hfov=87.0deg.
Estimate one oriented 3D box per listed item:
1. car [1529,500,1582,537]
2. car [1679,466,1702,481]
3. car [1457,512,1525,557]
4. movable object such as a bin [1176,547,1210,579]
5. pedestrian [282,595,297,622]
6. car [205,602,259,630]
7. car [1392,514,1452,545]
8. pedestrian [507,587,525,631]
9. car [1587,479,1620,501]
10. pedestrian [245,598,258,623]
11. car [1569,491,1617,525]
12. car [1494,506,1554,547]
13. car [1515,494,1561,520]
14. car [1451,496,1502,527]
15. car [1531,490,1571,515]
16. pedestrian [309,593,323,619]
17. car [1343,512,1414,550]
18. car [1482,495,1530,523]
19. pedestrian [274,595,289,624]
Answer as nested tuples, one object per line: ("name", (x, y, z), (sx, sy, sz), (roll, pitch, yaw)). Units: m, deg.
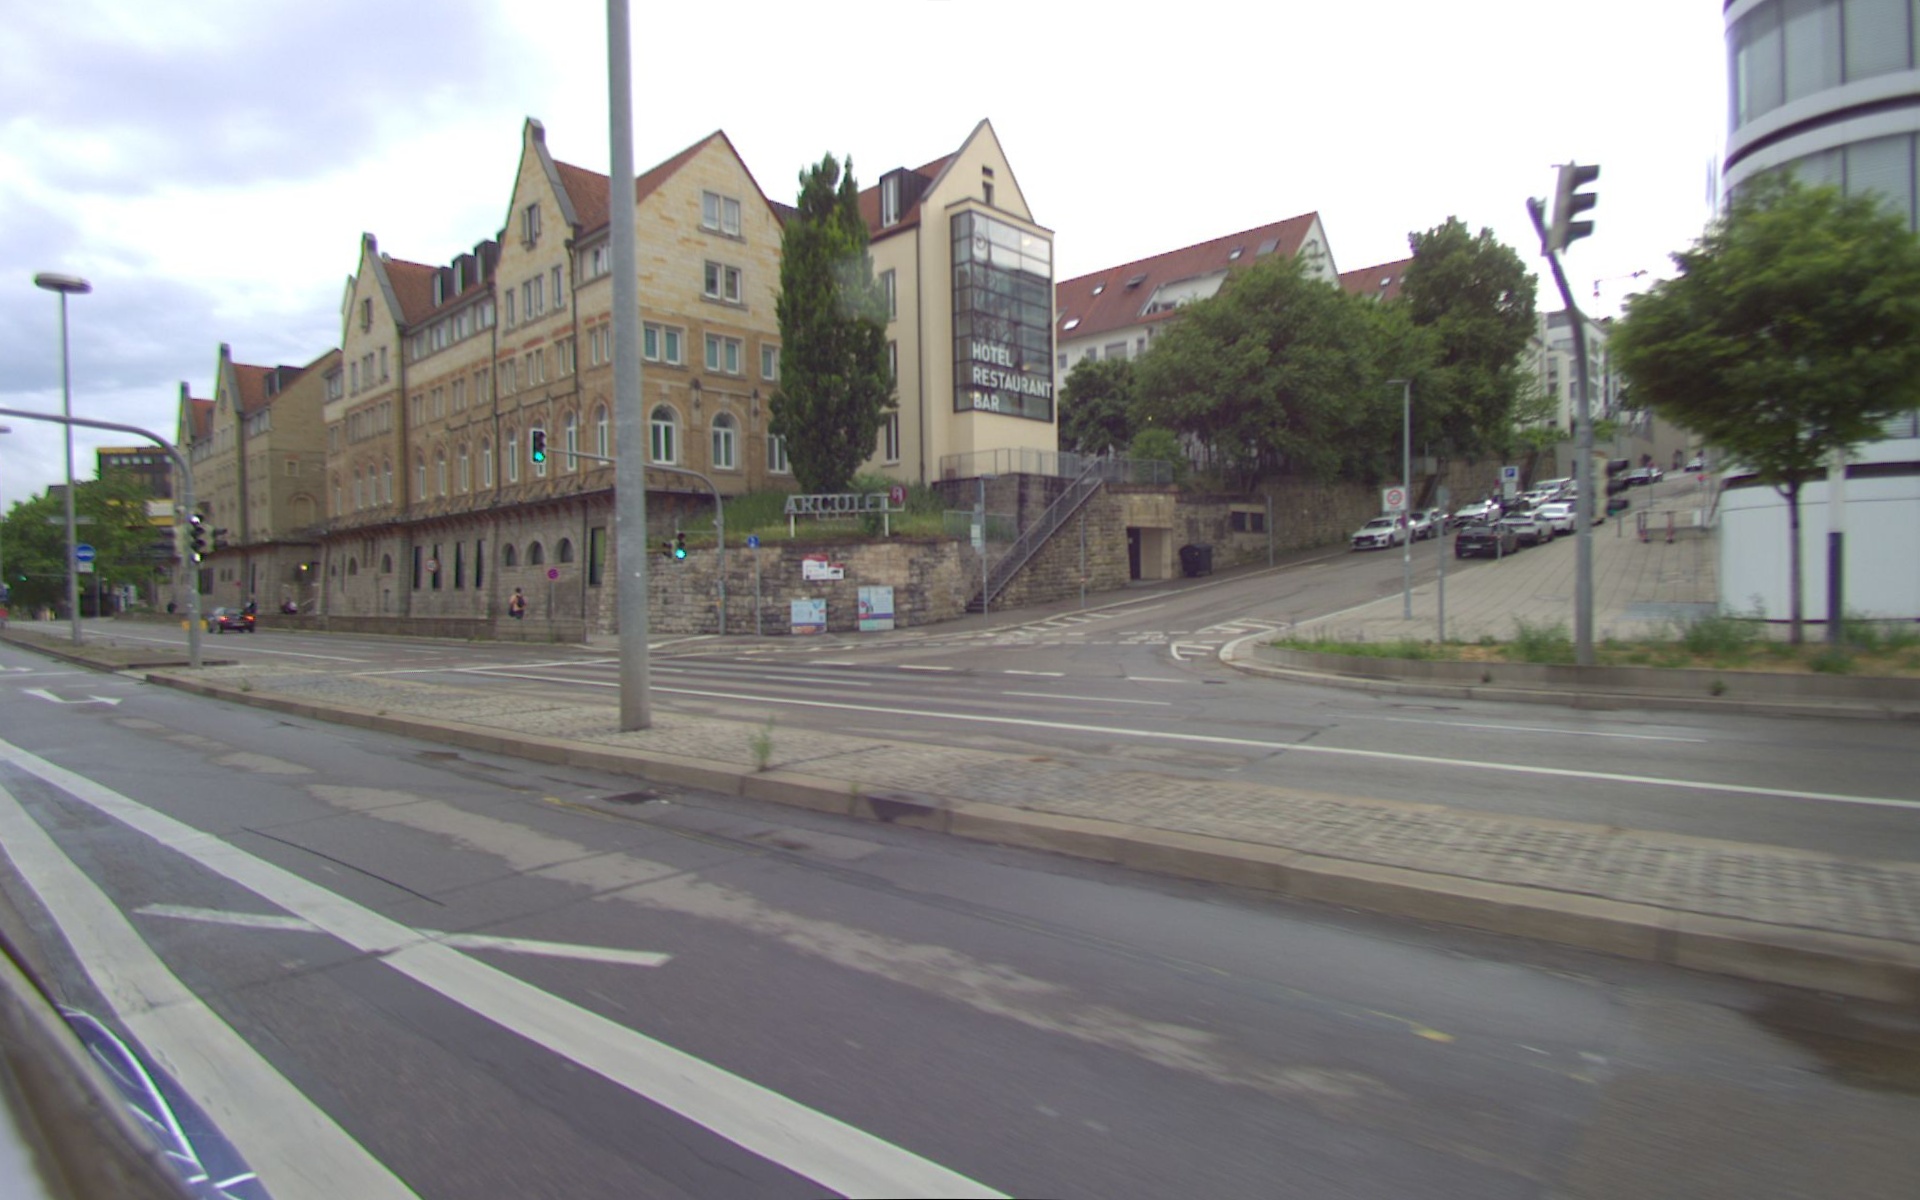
("car", (30.040, -4.124, 51.005), (1.876, 1.588, 3.952), (0, 7, 37))
("car", (91.787, -15.938, 127.089), (1.883, 1.696, 3.945), (1, 6, 43))
("car", (22.460, -2.785, 42.736), (1.876, 1.588, 3.952), (0, 7, 37))
("movable object such as a bin", (10.216, -1.624, 44.372), (1.118, 1.252, 0.816), (0, 7, 42))
("pedestrian", (-45.240, 0.572, 68.267), (0.684, 1.792, 0.668), (1, 1, 43))
("car", (-40.896, 0.873, 56.828), (4.000, 1.475, 1.692), (-1, 1, 43))
("car", (25.251, -3.839, 55.255), (1.864, 1.465, 3.851), (1, 6, 43))
("pedestrian", (-18.395, 0.367, 41.896), (0.666, 1.792, 0.686), (0, 1, -24))
("car", (55.422, -9.459, 87.172), (1.709, 1.696, 3.945), (1, 6, 43))
("pedestrian", (-51.632, 0.738, 73.782), (0.684, 1.792, 0.668), (1, 1, 43))
("car", (34.413, -5.022, 54.978), (1.876, 1.588, 3.952), (0, 7, 37))
("car", (26.022, -3.421, 46.626), (1.876, 1.588, 3.952), (0, 7, 37))
("car", (41.039, -6.603, 71.809), (1.917, 1.696, 3.945), (1, 6, 43))
("car", (32.201, -5.543, 63.082), (1.814, 1.696, 3.945), (1, 6, 43))
("car", (44.766, -7.418, 76.609), (1.814, 1.696, 3.945), (1, 6, 43))
("pedestrian", (-44.092, 0.422, 69.264), (0.684, 1.792, 0.668), (1, 1, 43))
("car", (21.198, -3.492, 51.173), (2.053, 1.696, 3.945), (1, 6, 43))
("car", (36.629, -6.115, 67.883), (1.849, 1.696, 3.944), (1, 6, 44))
("pedestrian", (-43.535, 0.606, 64.947), (0.684, 1.792, 0.668), (1, 1, 43))
